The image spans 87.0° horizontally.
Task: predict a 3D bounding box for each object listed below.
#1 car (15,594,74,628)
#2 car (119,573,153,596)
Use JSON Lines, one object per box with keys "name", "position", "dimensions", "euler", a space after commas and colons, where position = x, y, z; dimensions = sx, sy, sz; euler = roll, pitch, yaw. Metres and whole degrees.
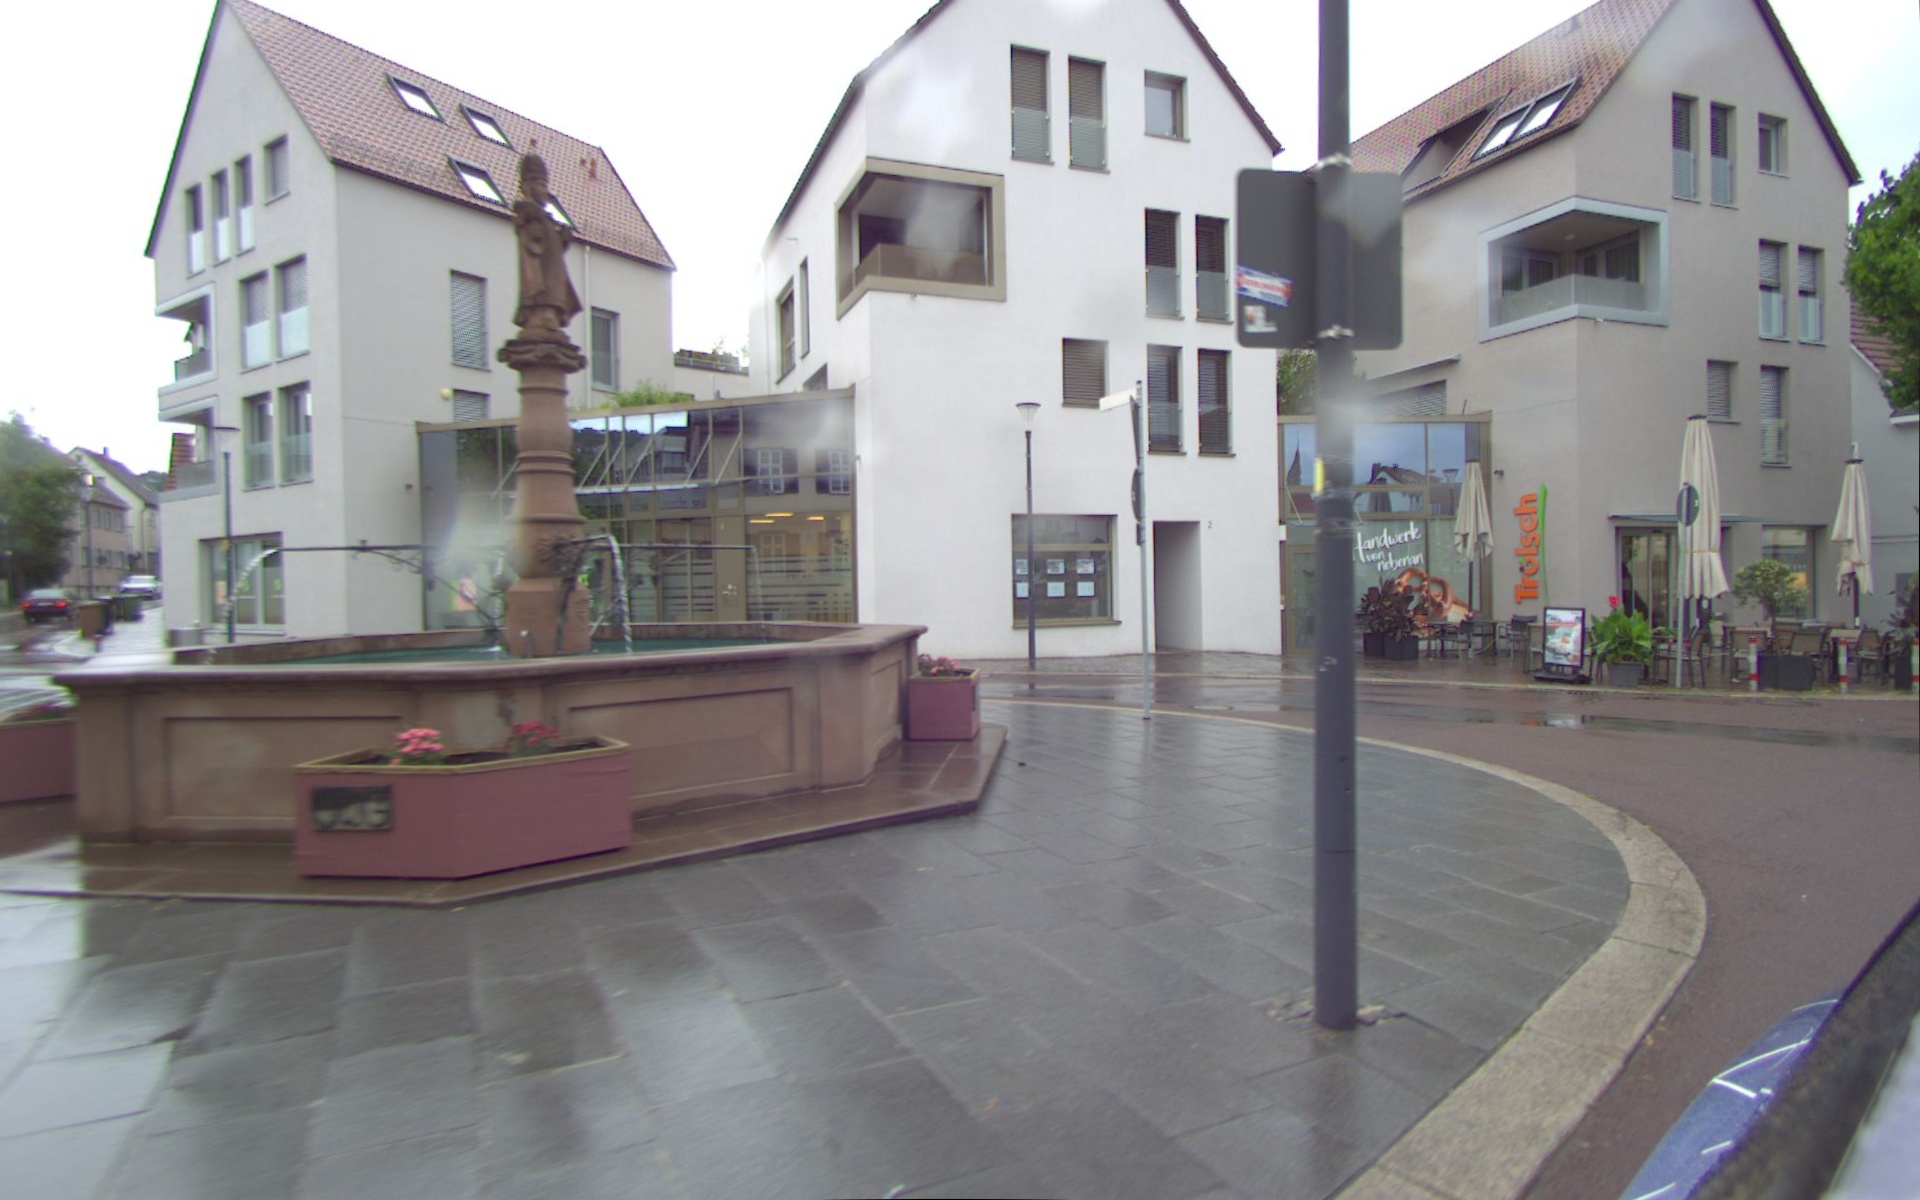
{"name": "car", "position": [-40.399, 0.451, 44.726], "dimensions": [1.642, 1.380, 3.604], "euler": [-1, 1, -38]}
{"name": "car", "position": [-56.678, -1.068, 69.653], "dimensions": [1.641, 1.571, 3.605], "euler": [-1, 1, -37]}
